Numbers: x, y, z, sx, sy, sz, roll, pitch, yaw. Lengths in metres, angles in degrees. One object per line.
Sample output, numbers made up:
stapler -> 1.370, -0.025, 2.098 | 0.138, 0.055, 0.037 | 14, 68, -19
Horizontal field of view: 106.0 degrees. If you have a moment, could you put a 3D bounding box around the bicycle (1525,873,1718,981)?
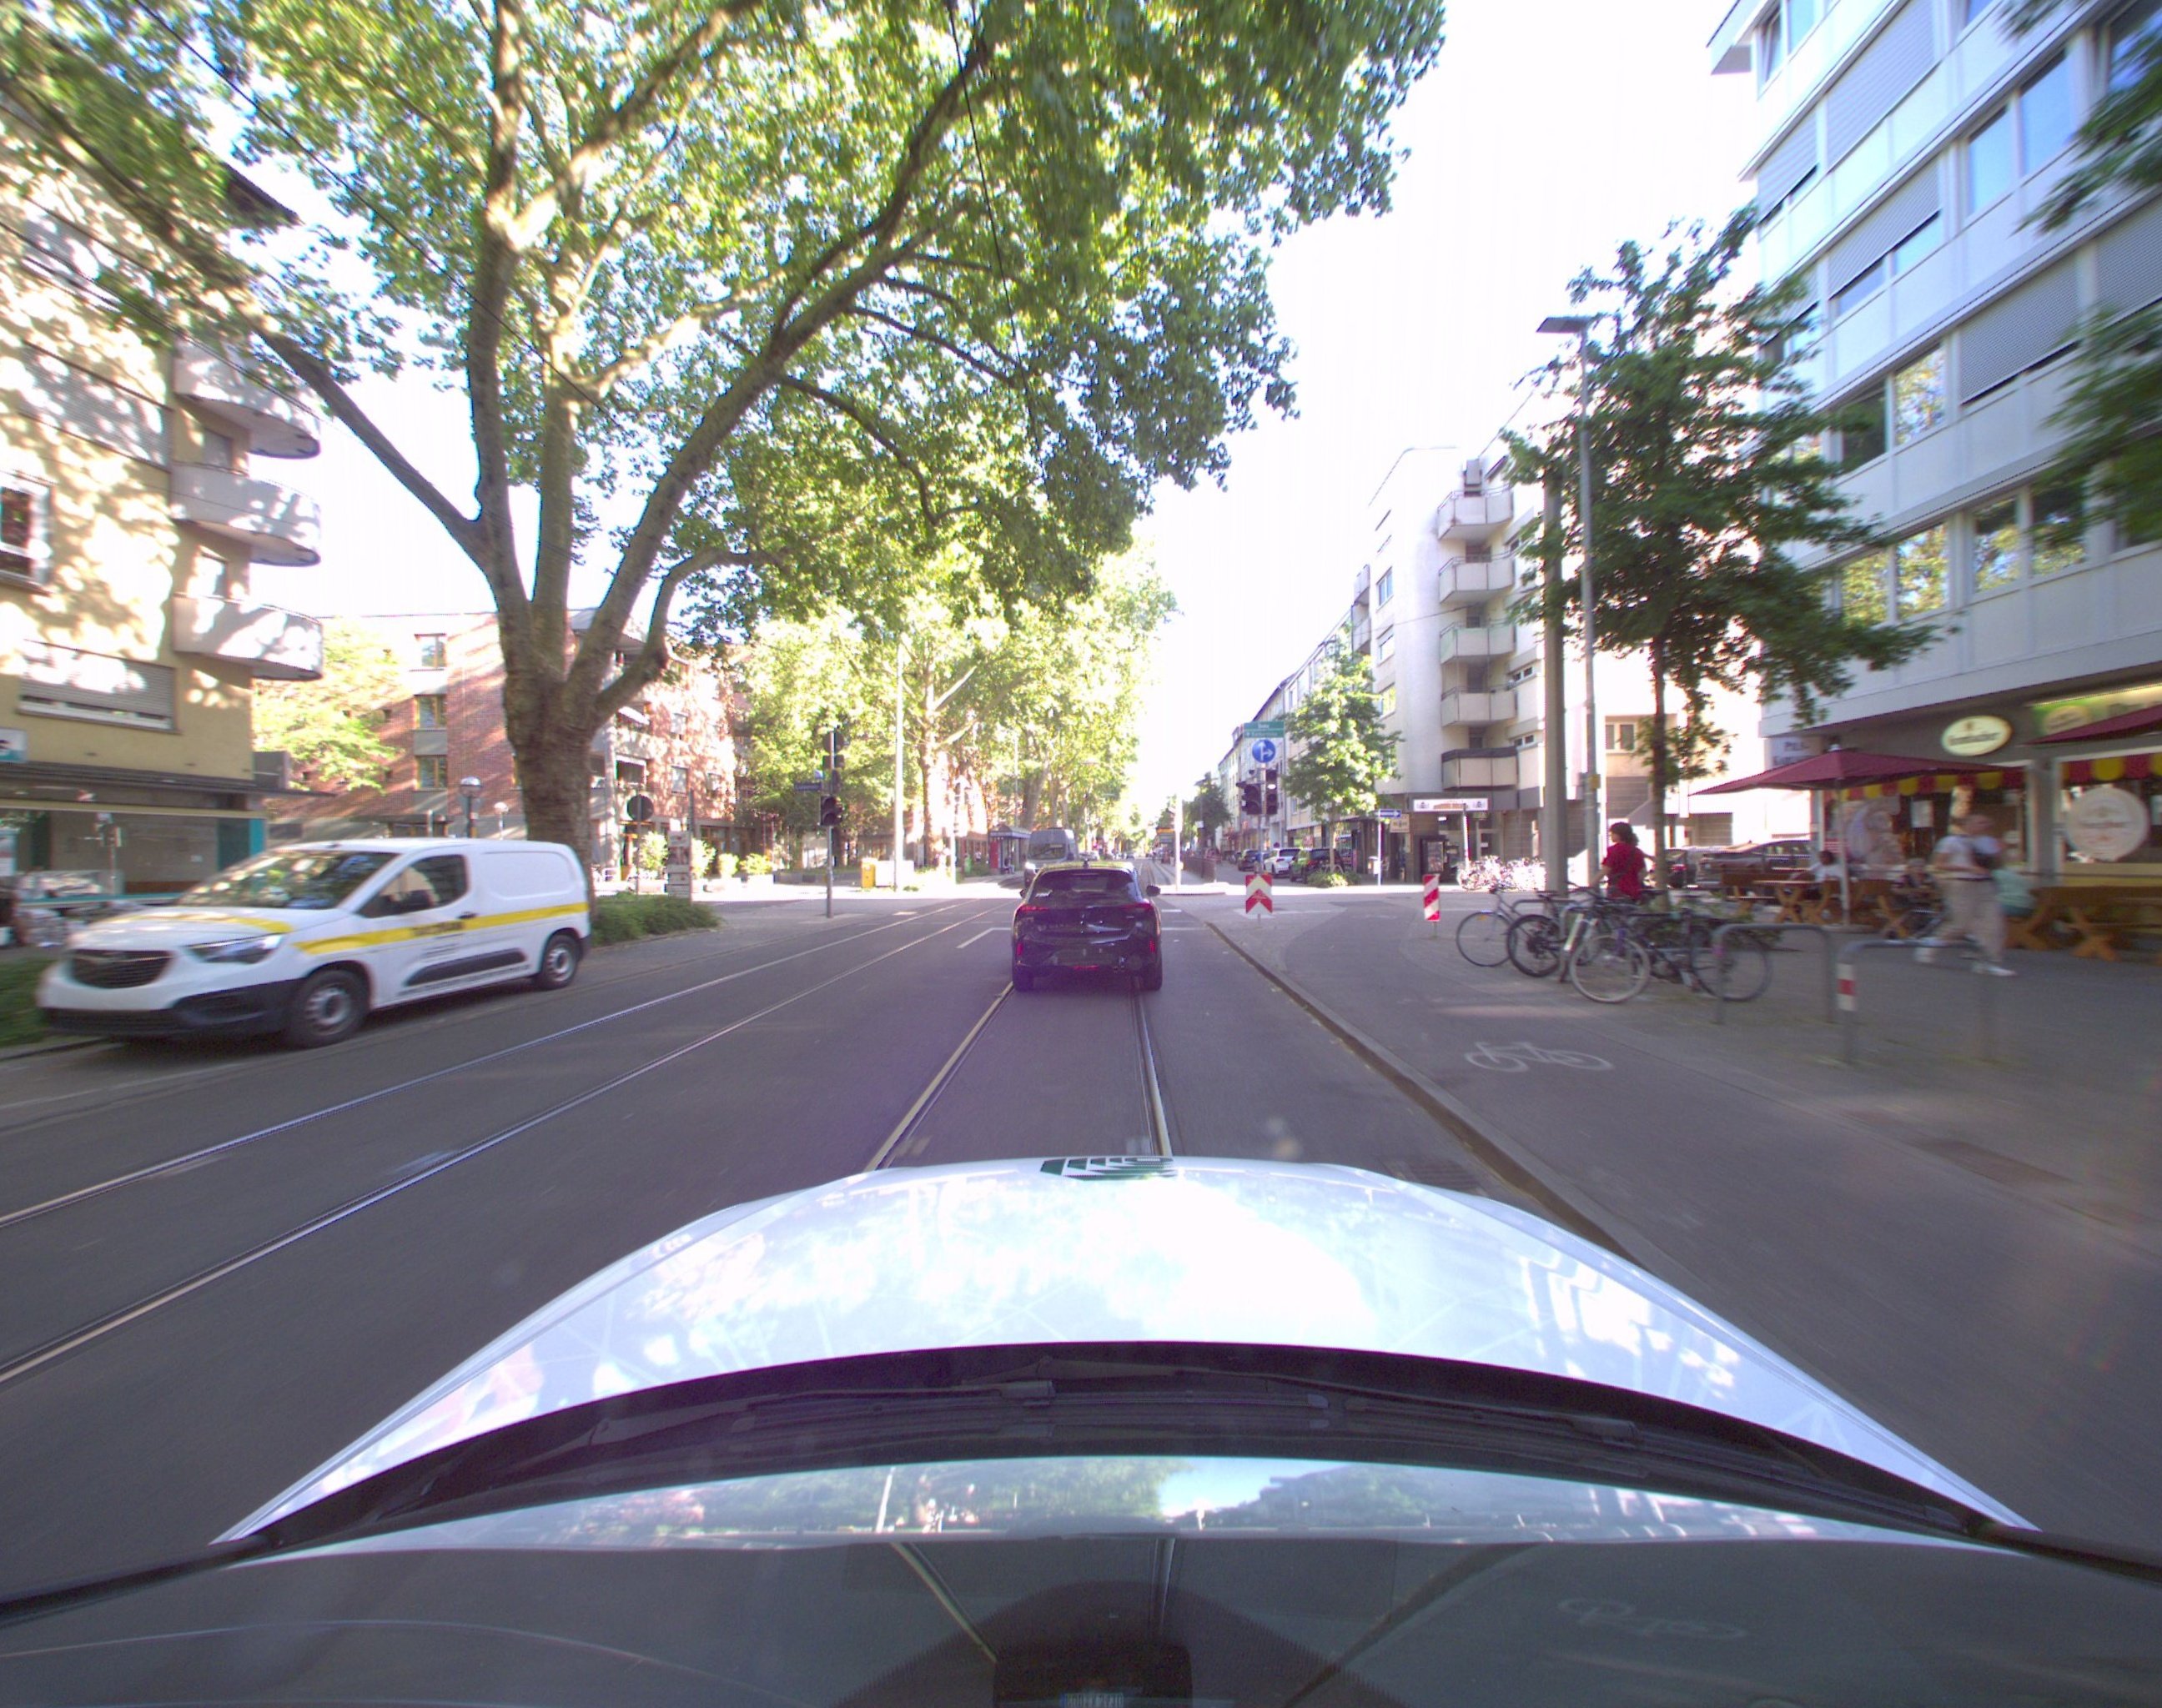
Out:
bicycle -> 5.768, 0.765, 8.723 | 1.812, 1.100, 0.480 | 0, -1, -5

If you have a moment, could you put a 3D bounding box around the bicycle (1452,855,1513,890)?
bicycle -> 14.211, 0.652, 28.836 | 1.907, 1.207, 0.511 | -1, 0, 0

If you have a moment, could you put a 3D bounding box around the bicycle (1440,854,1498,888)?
bicycle -> 14.247, 0.615, 29.926 | 1.907, 1.208, 0.511 | 0, -1, 0

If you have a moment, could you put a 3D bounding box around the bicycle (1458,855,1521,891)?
bicycle -> 14.194, 0.651, 28.301 | 1.907, 1.207, 0.511 | -1, 1, 0

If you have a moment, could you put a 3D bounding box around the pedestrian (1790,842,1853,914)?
pedestrian -> 13.632, 0.440, 15.004 | 0.533, 1.287, 0.716 | 0, -1, 5

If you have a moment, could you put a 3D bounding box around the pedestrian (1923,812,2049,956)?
pedestrian -> 10.968, 0.351, 9.889 | 0.679, 1.659, 0.809 | 1, -1, -18

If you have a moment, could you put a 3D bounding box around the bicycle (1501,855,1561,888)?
bicycle -> 16.352, 0.634, 29.612 | 1.907, 1.208, 0.511 | 0, -1, 0

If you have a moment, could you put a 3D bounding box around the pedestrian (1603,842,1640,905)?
pedestrian -> 13.687, 0.499, 20.641 | 0.548, 1.562, 0.646 | 0, -2, 8

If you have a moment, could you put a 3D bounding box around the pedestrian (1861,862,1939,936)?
pedestrian -> 12.177, 0.660, 12.125 | 0.639, 1.079, 0.522 | 0, -1, 2

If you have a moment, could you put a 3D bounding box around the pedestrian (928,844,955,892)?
pedestrian -> -5.485, 0.531, 32.045 | 0.921, 1.835, 0.920 | 0, 2, 0

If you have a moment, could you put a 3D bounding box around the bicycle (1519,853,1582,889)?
bicycle -> 16.332, 0.581, 28.334 | 1.907, 1.207, 0.511 | 0, 1, 0

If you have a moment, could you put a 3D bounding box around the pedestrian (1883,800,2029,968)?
pedestrian -> 9.796, 0.325, 9.161 | 0.588, 1.784, 0.996 | 0, -1, 3

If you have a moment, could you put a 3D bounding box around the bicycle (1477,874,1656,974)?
bicycle -> 5.543, 0.784, 9.329 | 1.812, 1.100, 0.497 | 0, -1, -5

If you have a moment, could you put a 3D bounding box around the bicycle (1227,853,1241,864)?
bicycle -> 16.194, 0.469, 86.175 | 0.610, 1.136, 2.914 | 0, 0, -7

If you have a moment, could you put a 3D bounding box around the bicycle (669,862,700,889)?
bicycle -> -17.162, 0.925, 35.272 | 0.539, 1.084, 1.538 | 0, 2, 3

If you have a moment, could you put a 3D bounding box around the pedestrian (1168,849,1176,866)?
pedestrian -> 8.440, 0.317, 75.355 | 0.628, 1.576, 0.872 | 2, 0, 4

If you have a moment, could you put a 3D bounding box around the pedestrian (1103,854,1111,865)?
pedestrian -> 4.062, 0.838, 128.691 | 1.160, 1.748, 0.957 | 0, -1, -1

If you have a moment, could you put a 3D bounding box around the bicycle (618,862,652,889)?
bicycle -> -19.457, 0.936, 35.556 | 0.539, 1.084, 1.640 | 0, 1, 3

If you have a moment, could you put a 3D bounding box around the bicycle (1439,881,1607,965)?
bicycle -> 5.443, 0.839, 10.072 | 1.808, 0.994, 0.481 | 0, -1, 1

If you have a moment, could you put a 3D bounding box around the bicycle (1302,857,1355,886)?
bicycle -> 10.547, 0.737, 34.780 | 2.112, 1.187, 0.683 | 0, -1, 12

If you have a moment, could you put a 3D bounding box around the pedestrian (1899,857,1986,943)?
pedestrian -> 12.020, 0.632, 11.379 | 0.656, 1.175, 0.522 | 0, -1, 2

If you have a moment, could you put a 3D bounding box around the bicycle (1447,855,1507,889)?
bicycle -> 14.297, 0.643, 29.389 | 1.907, 1.207, 0.511 | -1, 0, 0

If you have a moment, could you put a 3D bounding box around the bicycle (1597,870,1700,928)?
bicycle -> 10.324, 0.781, 14.918 | 0.673, 0.963, 2.026 | 0, -1, 6

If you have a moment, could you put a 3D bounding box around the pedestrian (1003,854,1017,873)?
pedestrian -> -4.357, 0.573, 49.966 | 0.702, 1.168, 0.660 | -2, -1, 1

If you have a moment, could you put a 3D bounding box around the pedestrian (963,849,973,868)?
pedestrian -> -10.094, 0.378, 72.578 | 0.732, 1.672, 0.862 | 0, -1, 4

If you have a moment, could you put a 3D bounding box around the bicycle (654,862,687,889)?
bicycle -> -17.786, 0.910, 35.304 | 0.539, 1.084, 1.640 | 0, 2, 3

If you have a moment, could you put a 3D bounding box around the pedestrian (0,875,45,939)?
pedestrian -> -18.321, 0.888, 13.803 | 0.576, 1.047, 0.711 | 0, -1, 3

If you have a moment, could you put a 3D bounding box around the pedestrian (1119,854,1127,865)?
pedestrian -> 6.557, 0.852, 128.354 | 1.160, 1.748, 0.957 | 0, -1, -1

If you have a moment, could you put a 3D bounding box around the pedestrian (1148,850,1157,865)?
pedestrian -> 8.273, 0.420, 94.347 | 0.742, 1.709, 0.768 | 0, -1, 39

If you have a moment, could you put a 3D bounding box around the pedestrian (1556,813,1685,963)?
pedestrian -> 6.725, 0.405, 10.181 | 0.879, 1.758, 1.040 | 1, -1, -24

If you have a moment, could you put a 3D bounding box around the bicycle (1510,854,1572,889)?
bicycle -> 16.337, 0.624, 28.949 | 1.907, 1.208, 0.511 | 0, -1, 0

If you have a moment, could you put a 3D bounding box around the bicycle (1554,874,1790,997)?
bicycle -> 5.547, 0.750, 7.704 | 1.807, 1.100, 0.526 | -1, -1, 3
